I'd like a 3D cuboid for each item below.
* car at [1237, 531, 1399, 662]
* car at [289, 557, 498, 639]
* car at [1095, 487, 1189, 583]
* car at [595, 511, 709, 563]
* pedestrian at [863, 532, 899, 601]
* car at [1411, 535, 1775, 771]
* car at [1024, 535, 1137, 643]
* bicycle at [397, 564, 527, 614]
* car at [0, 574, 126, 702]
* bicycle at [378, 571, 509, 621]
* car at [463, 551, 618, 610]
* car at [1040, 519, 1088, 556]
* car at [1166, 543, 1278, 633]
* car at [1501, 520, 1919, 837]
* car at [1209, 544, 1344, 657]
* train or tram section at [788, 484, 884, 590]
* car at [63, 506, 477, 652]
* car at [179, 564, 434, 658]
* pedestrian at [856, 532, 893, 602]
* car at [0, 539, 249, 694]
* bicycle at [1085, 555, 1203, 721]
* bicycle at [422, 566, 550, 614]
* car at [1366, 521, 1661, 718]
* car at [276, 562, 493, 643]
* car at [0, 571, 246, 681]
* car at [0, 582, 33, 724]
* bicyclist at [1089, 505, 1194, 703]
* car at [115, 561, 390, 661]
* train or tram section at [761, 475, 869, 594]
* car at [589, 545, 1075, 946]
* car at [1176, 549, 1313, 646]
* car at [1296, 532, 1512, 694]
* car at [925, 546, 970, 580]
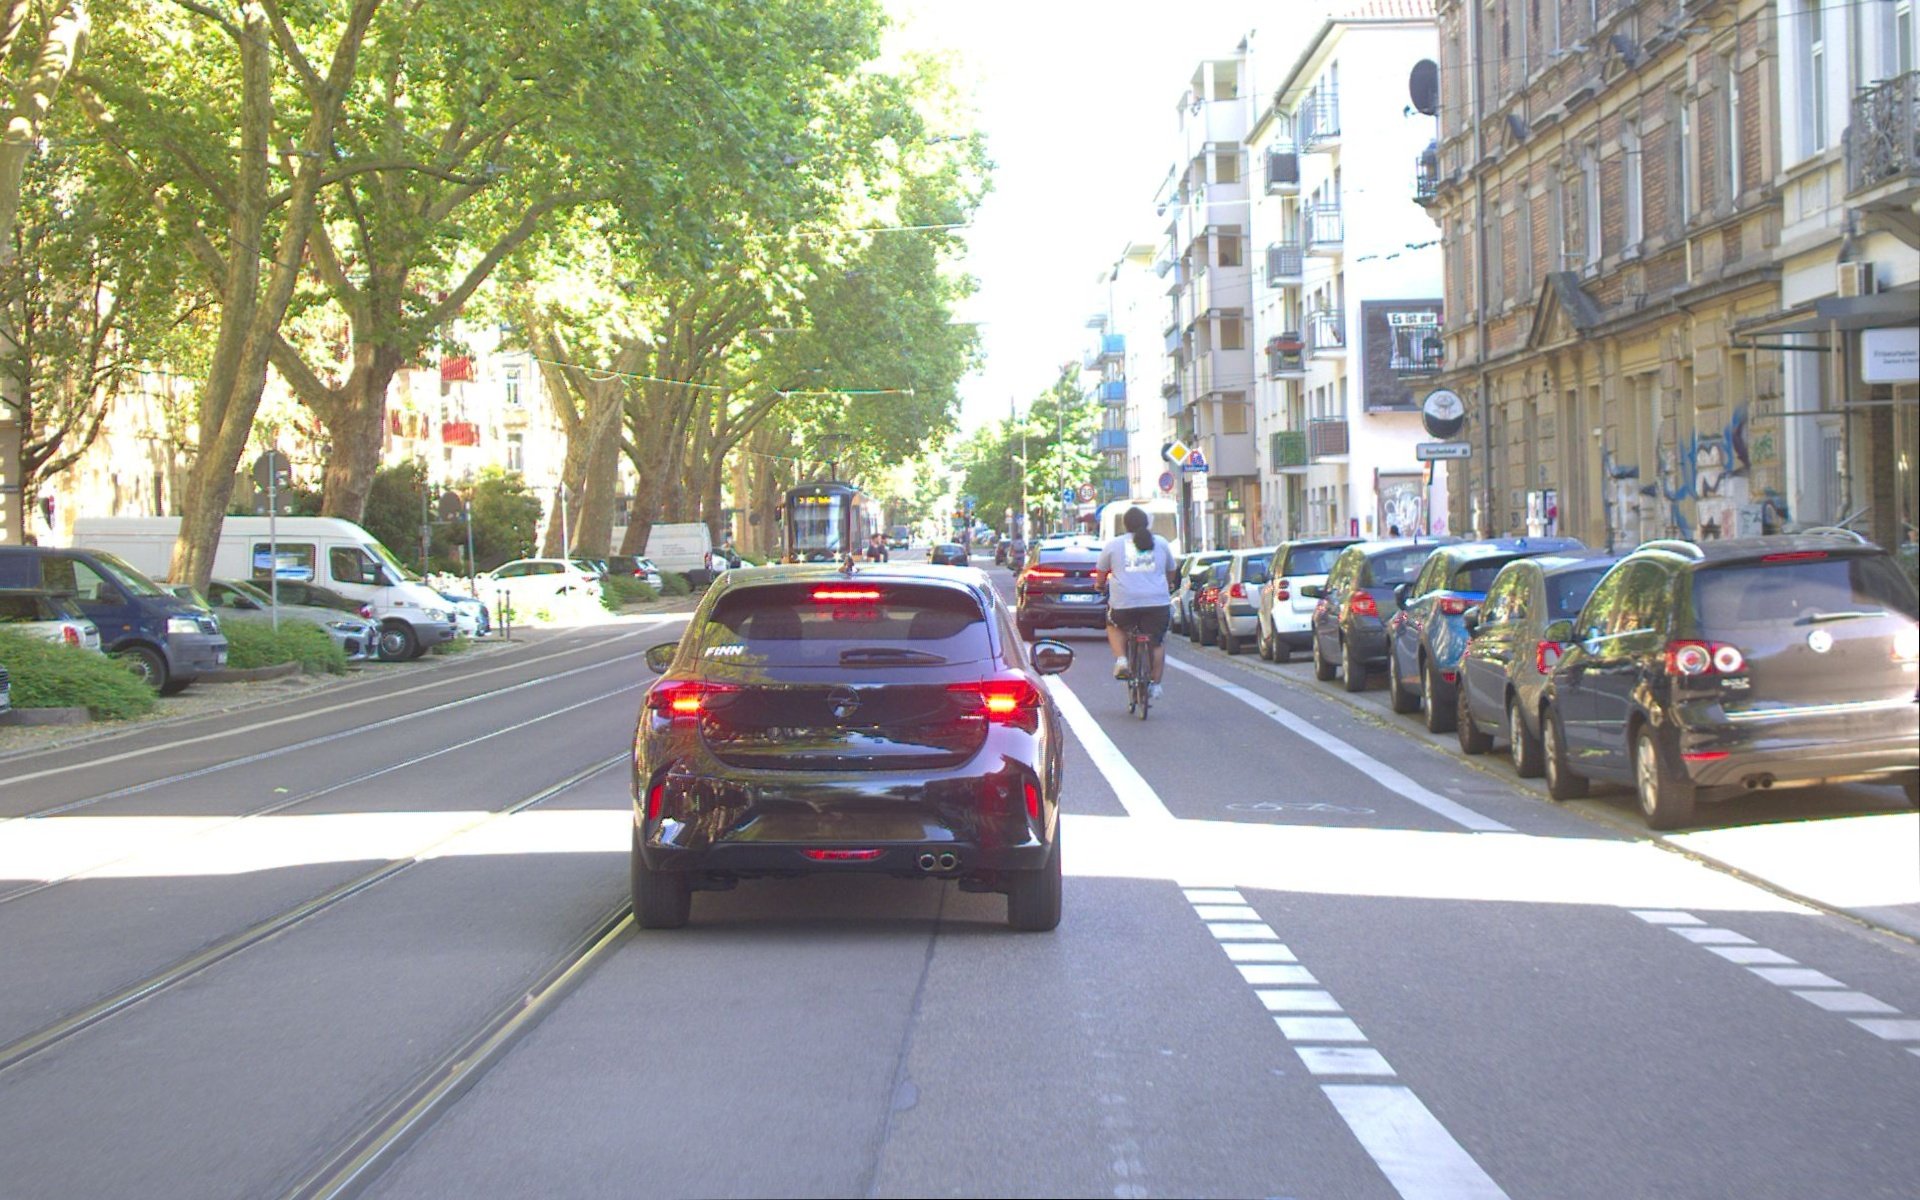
[{"bbox_3d":[4.593,-0.059,44.439,1.567,1.512,3.041,-4,1,-2],"label":"car"},{"bbox_3d":[-11.252,-0.052,68.484,3.919,1.572,1.677,1,0,-2],"label":"car"},{"bbox_3d":[4.572,-1.643,87.076,2.075,2.211,4.933,-4,1,1],"label":"car"},{"bbox_3d":[-10.810,-2.201,120.885,3.919,1.784,1.677,1,0,-2],"label":"car"},{"bbox_3d":[-1.789,-0.756,78.101,0.679,1.561,0.768,0,1,10],"label":"pedestrian"},{"bbox_3d":[4.491,0.336,24.926,1.798,1.451,3.768,-4,1,-1],"label":"car"},{"bbox_3d":[2.016,-0.206,58.116,1.810,1.736,3.933,-1,1,1],"label":"car"},{"bbox_3d":[-12.006,-0.262,82.865,2.945,1.165,0.989,0,1,17],"label":"bicycle"},{"bbox_3d":[-12.125,0.429,41.387,3.734,1.493,1.746,1,0,0],"label":"car"},{"bbox_3d":[-12.269,-0.091,81.692,2.945,1.165,0.989,0,1,17],"label":"bicycle"},{"bbox_3d":[-11.021,-0.505,90.442,3.919,1.493,1.677,1,0,-2],"label":"car"},{"bbox_3d":[4.139,-2.495,137.693,1.810,1.333,3.933,-4,1,1],"label":"car"},{"bbox_3d":[4.596,-0.225,60.651,1.662,1.415,3.933,-4,1,1],"label":"car"},{"bbox_3d":[4.610,0.391,20.382,1.880,1.580,3.933,-4,1,-3],"label":"car"},{"bbox_3d":[4.518,-0.019,49.494,1.705,1.451,3.697,-4,1,3],"label":"car"},{"bbox_3d":[-4.496,-2.295,127.290,2.735,3.669,12.716,-2,1,1],"label":"train or tram section"},{"bbox_3d":[-11.850,-0.372,59.404,6.628,2.401,2.458,1,0,1],"label":"car"},{"bbox_3d":[-10.739,0.168,56.700,3.919,1.493,1.677,1,0,-2],"label":"car"},{"bbox_3d":[-1.912,-0.744,77.287,0.679,1.561,0.768,0,1,10],"label":"pedestrian"},{"bbox_3d":[-11.729,0.189,44.308,4.675,1.917,1.980,1,0,2],"label":"car"},{"bbox_3d":[1.619,0.308,30.608,0.860,1.402,2.524,0,1,-1],"label":"bicycle"},{"bbox_3d":[-11.553,-0.246,83.840,2.945,1.165,0.989,0,1,17],"label":"bicycle"},{"bbox_3d":[4.684,0.130,29.622,1.880,1.451,4.025,-4,1,1],"label":"car"},{"bbox_3d":[-11.028,0.045,66.034,3.919,1.493,1.677,1,0,-2],"label":"car"},{"bbox_3d":[-11.811,0.340,47.015,3.734,1.425,1.637,1,0,0],"label":"car"},{"bbox_3d":[-11.608,0.510,34.884,3.919,1.417,1.819,1,0,-1],"label":"car"},{"bbox_3d":[1.610,0.027,30.690,0.848,1.734,1.162,0,1,-1],"label":"bicyclist"},{"bbox_3d":[-11.019,0.166,53.704,3.920,1.493,1.677,1,0,2],"label":"car"},{"bbox_3d":[-4.728,-2.157,114.601,2.735,3.669,12.716,-2,1,1],"label":"train or tram section"},{"bbox_3d":[-0.479,0.514,14.525,1.794,1.436,3.531,0,2,0],"label":"car"},{"bbox_3d":[4.425,-0.059,53.920,1.810,1.333,3.933,-4,1,1],"label":"car"},{"bbox_3d":[4.578,0.105,35.906,1.710,1.478,3.764,-4,1,1],"label":"car"},{"bbox_3d":[-0.521,-1.582,145.552,1.810,1.333,3.933,-1,2,1],"label":"car"}]
